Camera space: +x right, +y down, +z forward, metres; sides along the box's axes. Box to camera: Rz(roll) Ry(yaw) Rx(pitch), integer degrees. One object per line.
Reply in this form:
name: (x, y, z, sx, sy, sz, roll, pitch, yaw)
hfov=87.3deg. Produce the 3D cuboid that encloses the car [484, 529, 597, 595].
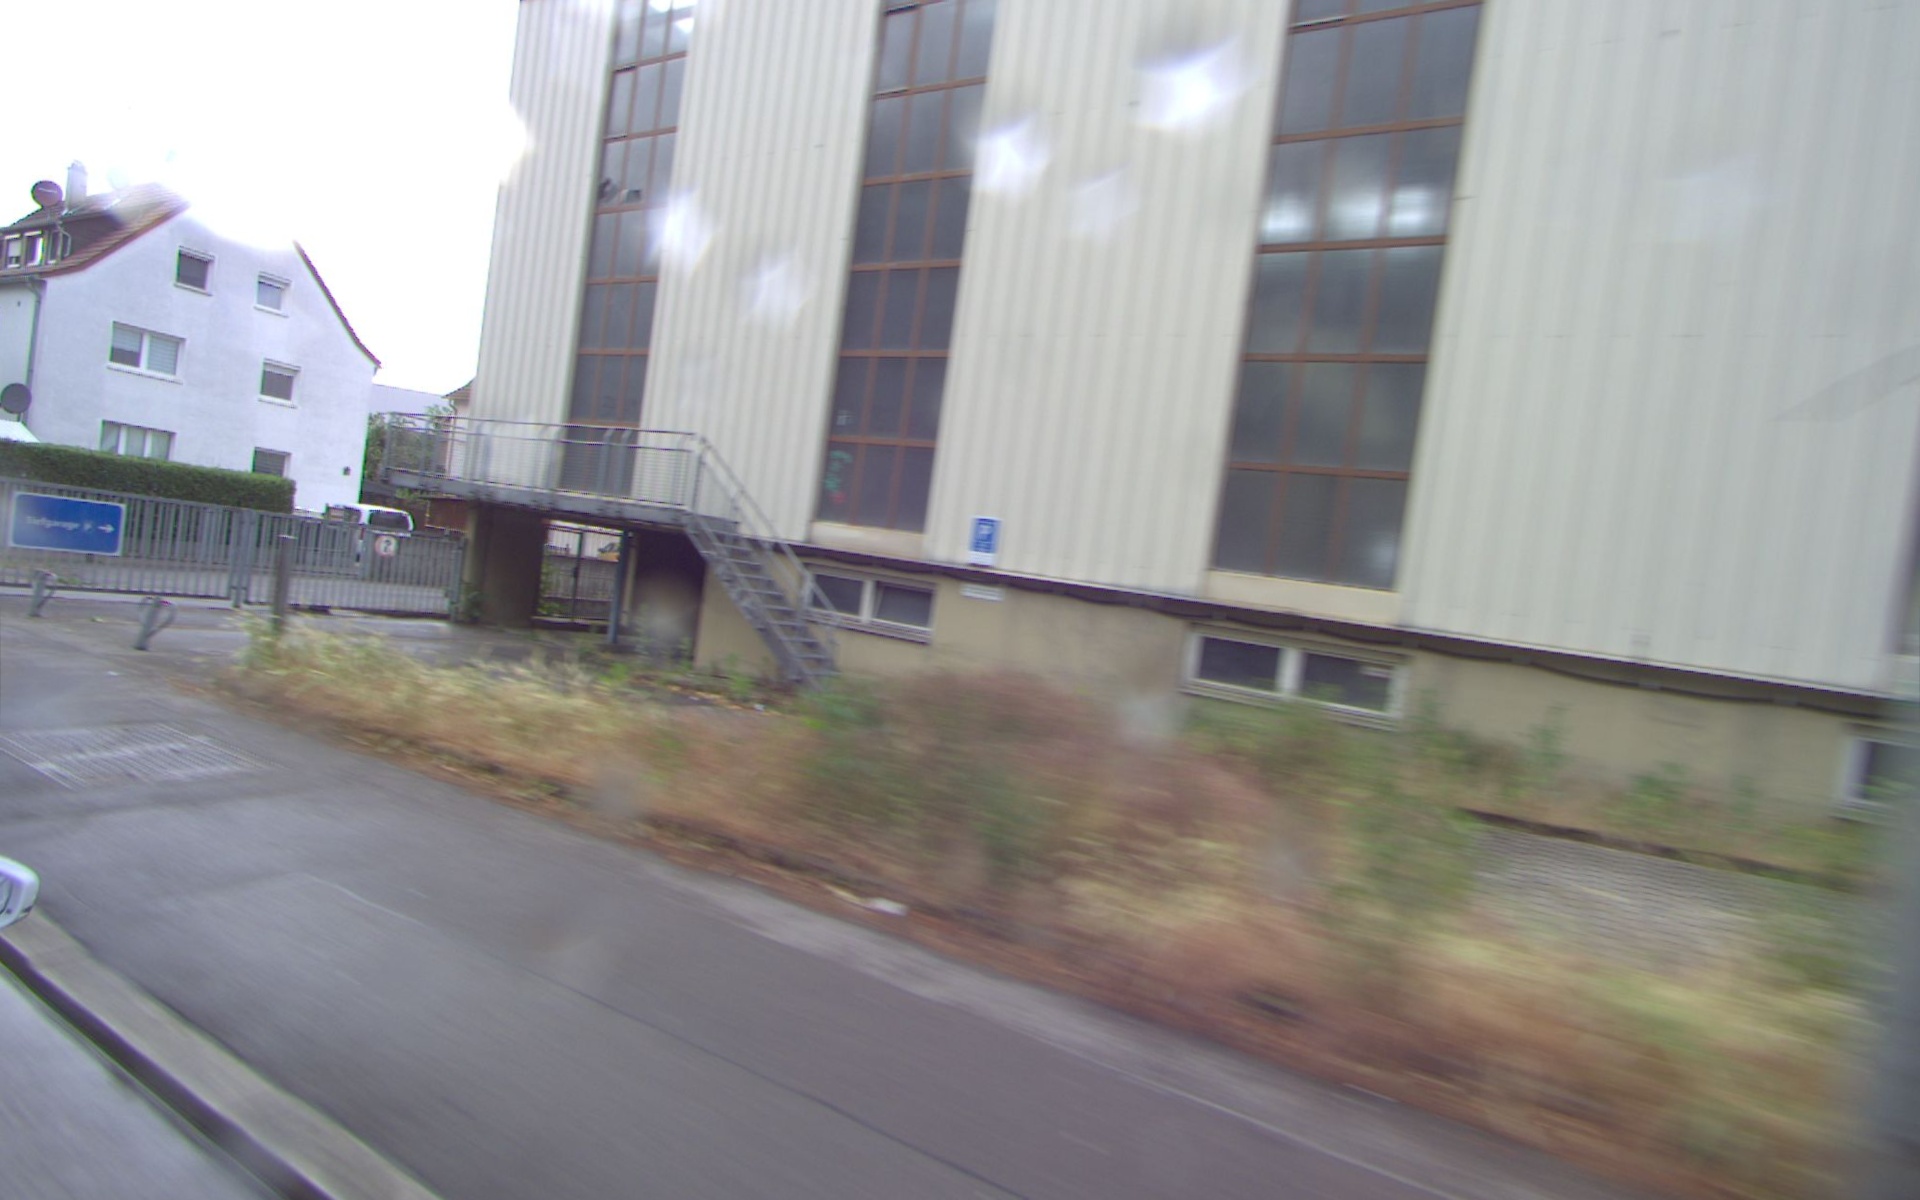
car: (-15.994, -1.458, 38.363, 3.933, 2.038, 1.864, 7, 0, 31)

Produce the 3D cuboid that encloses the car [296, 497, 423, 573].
car: (-19.925, -2.170, 33.364, 3.933, 2.038, 1.840, 7, 0, 31)

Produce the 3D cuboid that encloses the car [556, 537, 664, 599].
car: (-14.194, -1.305, 40.752, 3.933, 2.038, 1.864, 7, 0, 31)
